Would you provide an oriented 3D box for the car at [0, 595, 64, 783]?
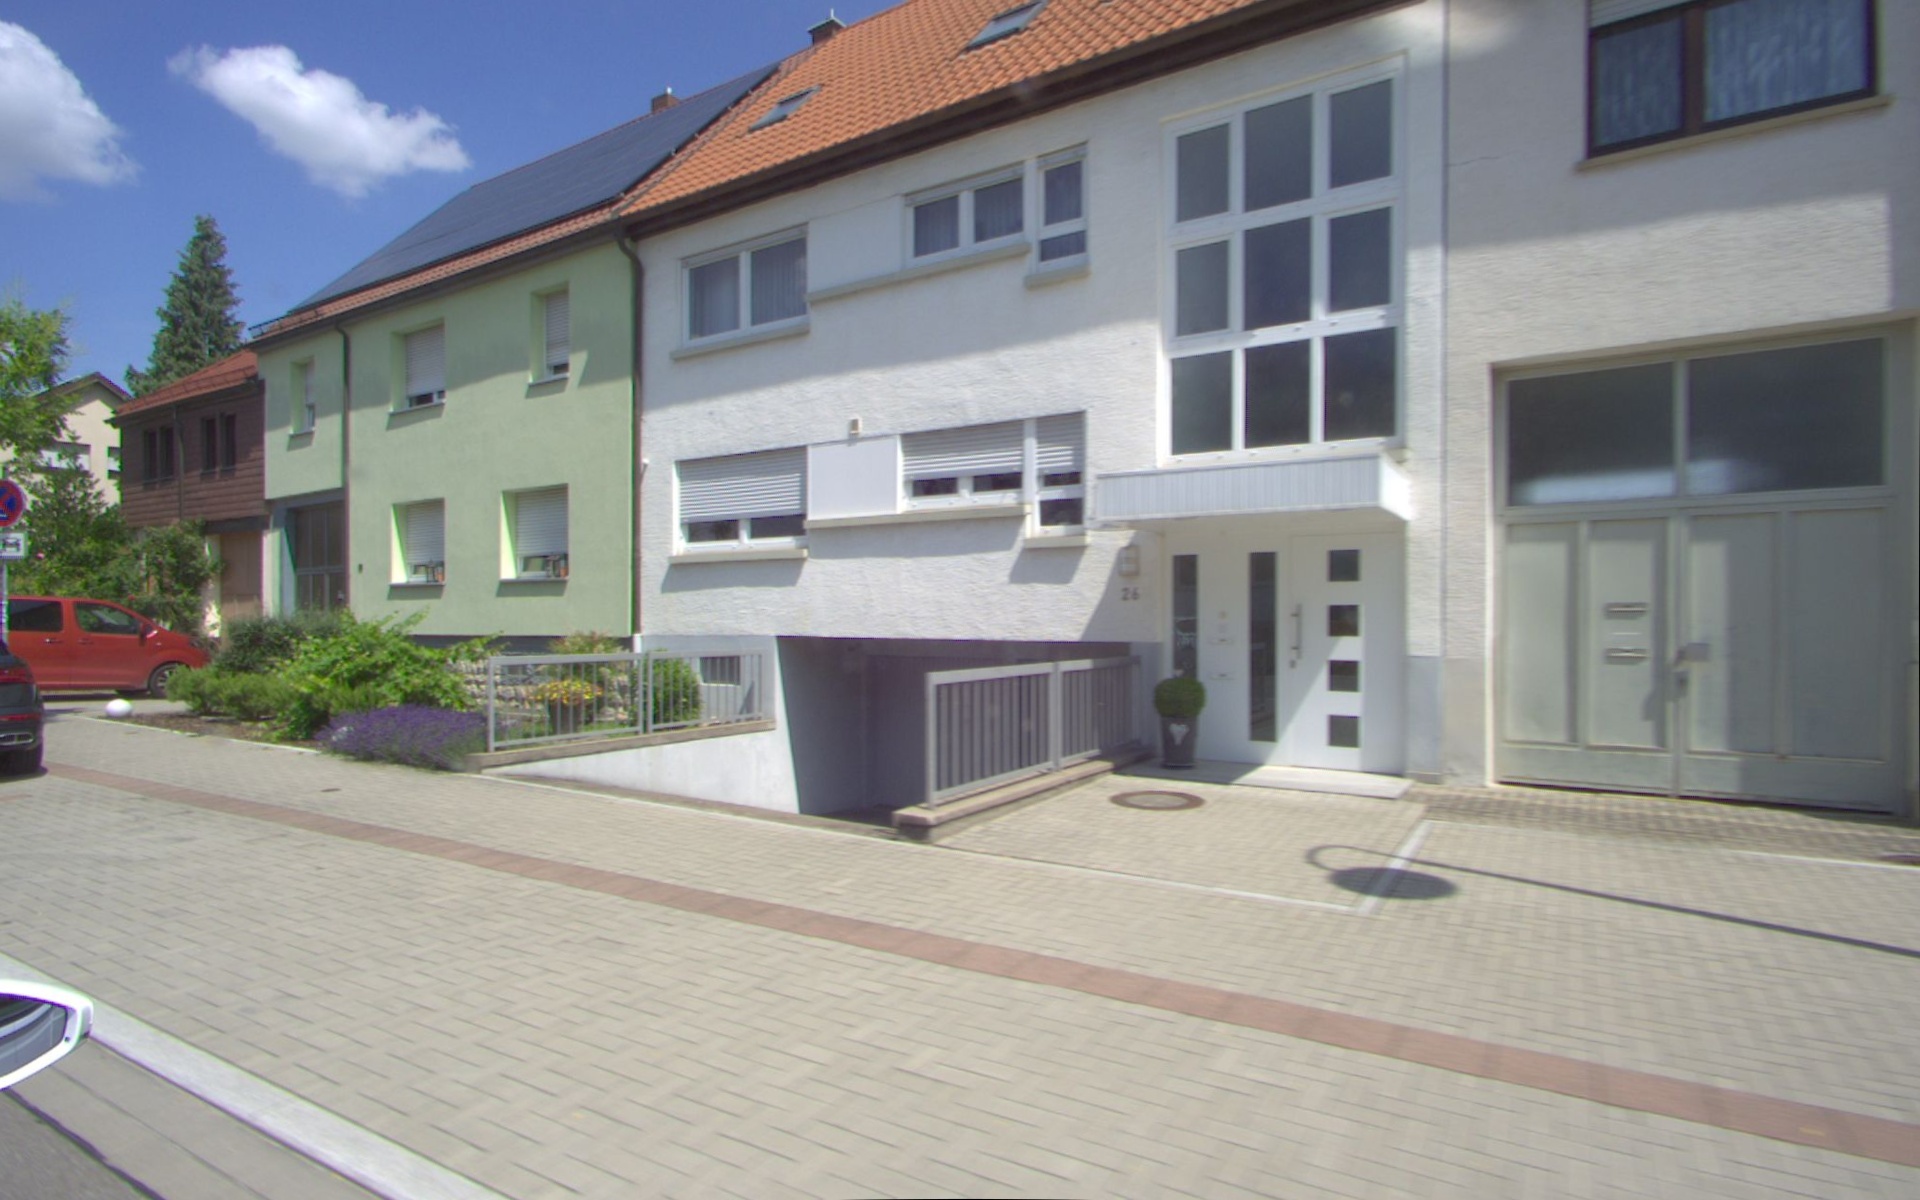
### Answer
[{"bbox_3d":[-10.625,0.815,9.708,4.385,1.658,1.858,0,2,34],"label":"car"}]

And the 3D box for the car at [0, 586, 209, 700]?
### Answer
[{"bbox_3d":[-16.646,0.775,18.021,1.991,1.917,4.614,-2,-3,30],"label":"car"}]
